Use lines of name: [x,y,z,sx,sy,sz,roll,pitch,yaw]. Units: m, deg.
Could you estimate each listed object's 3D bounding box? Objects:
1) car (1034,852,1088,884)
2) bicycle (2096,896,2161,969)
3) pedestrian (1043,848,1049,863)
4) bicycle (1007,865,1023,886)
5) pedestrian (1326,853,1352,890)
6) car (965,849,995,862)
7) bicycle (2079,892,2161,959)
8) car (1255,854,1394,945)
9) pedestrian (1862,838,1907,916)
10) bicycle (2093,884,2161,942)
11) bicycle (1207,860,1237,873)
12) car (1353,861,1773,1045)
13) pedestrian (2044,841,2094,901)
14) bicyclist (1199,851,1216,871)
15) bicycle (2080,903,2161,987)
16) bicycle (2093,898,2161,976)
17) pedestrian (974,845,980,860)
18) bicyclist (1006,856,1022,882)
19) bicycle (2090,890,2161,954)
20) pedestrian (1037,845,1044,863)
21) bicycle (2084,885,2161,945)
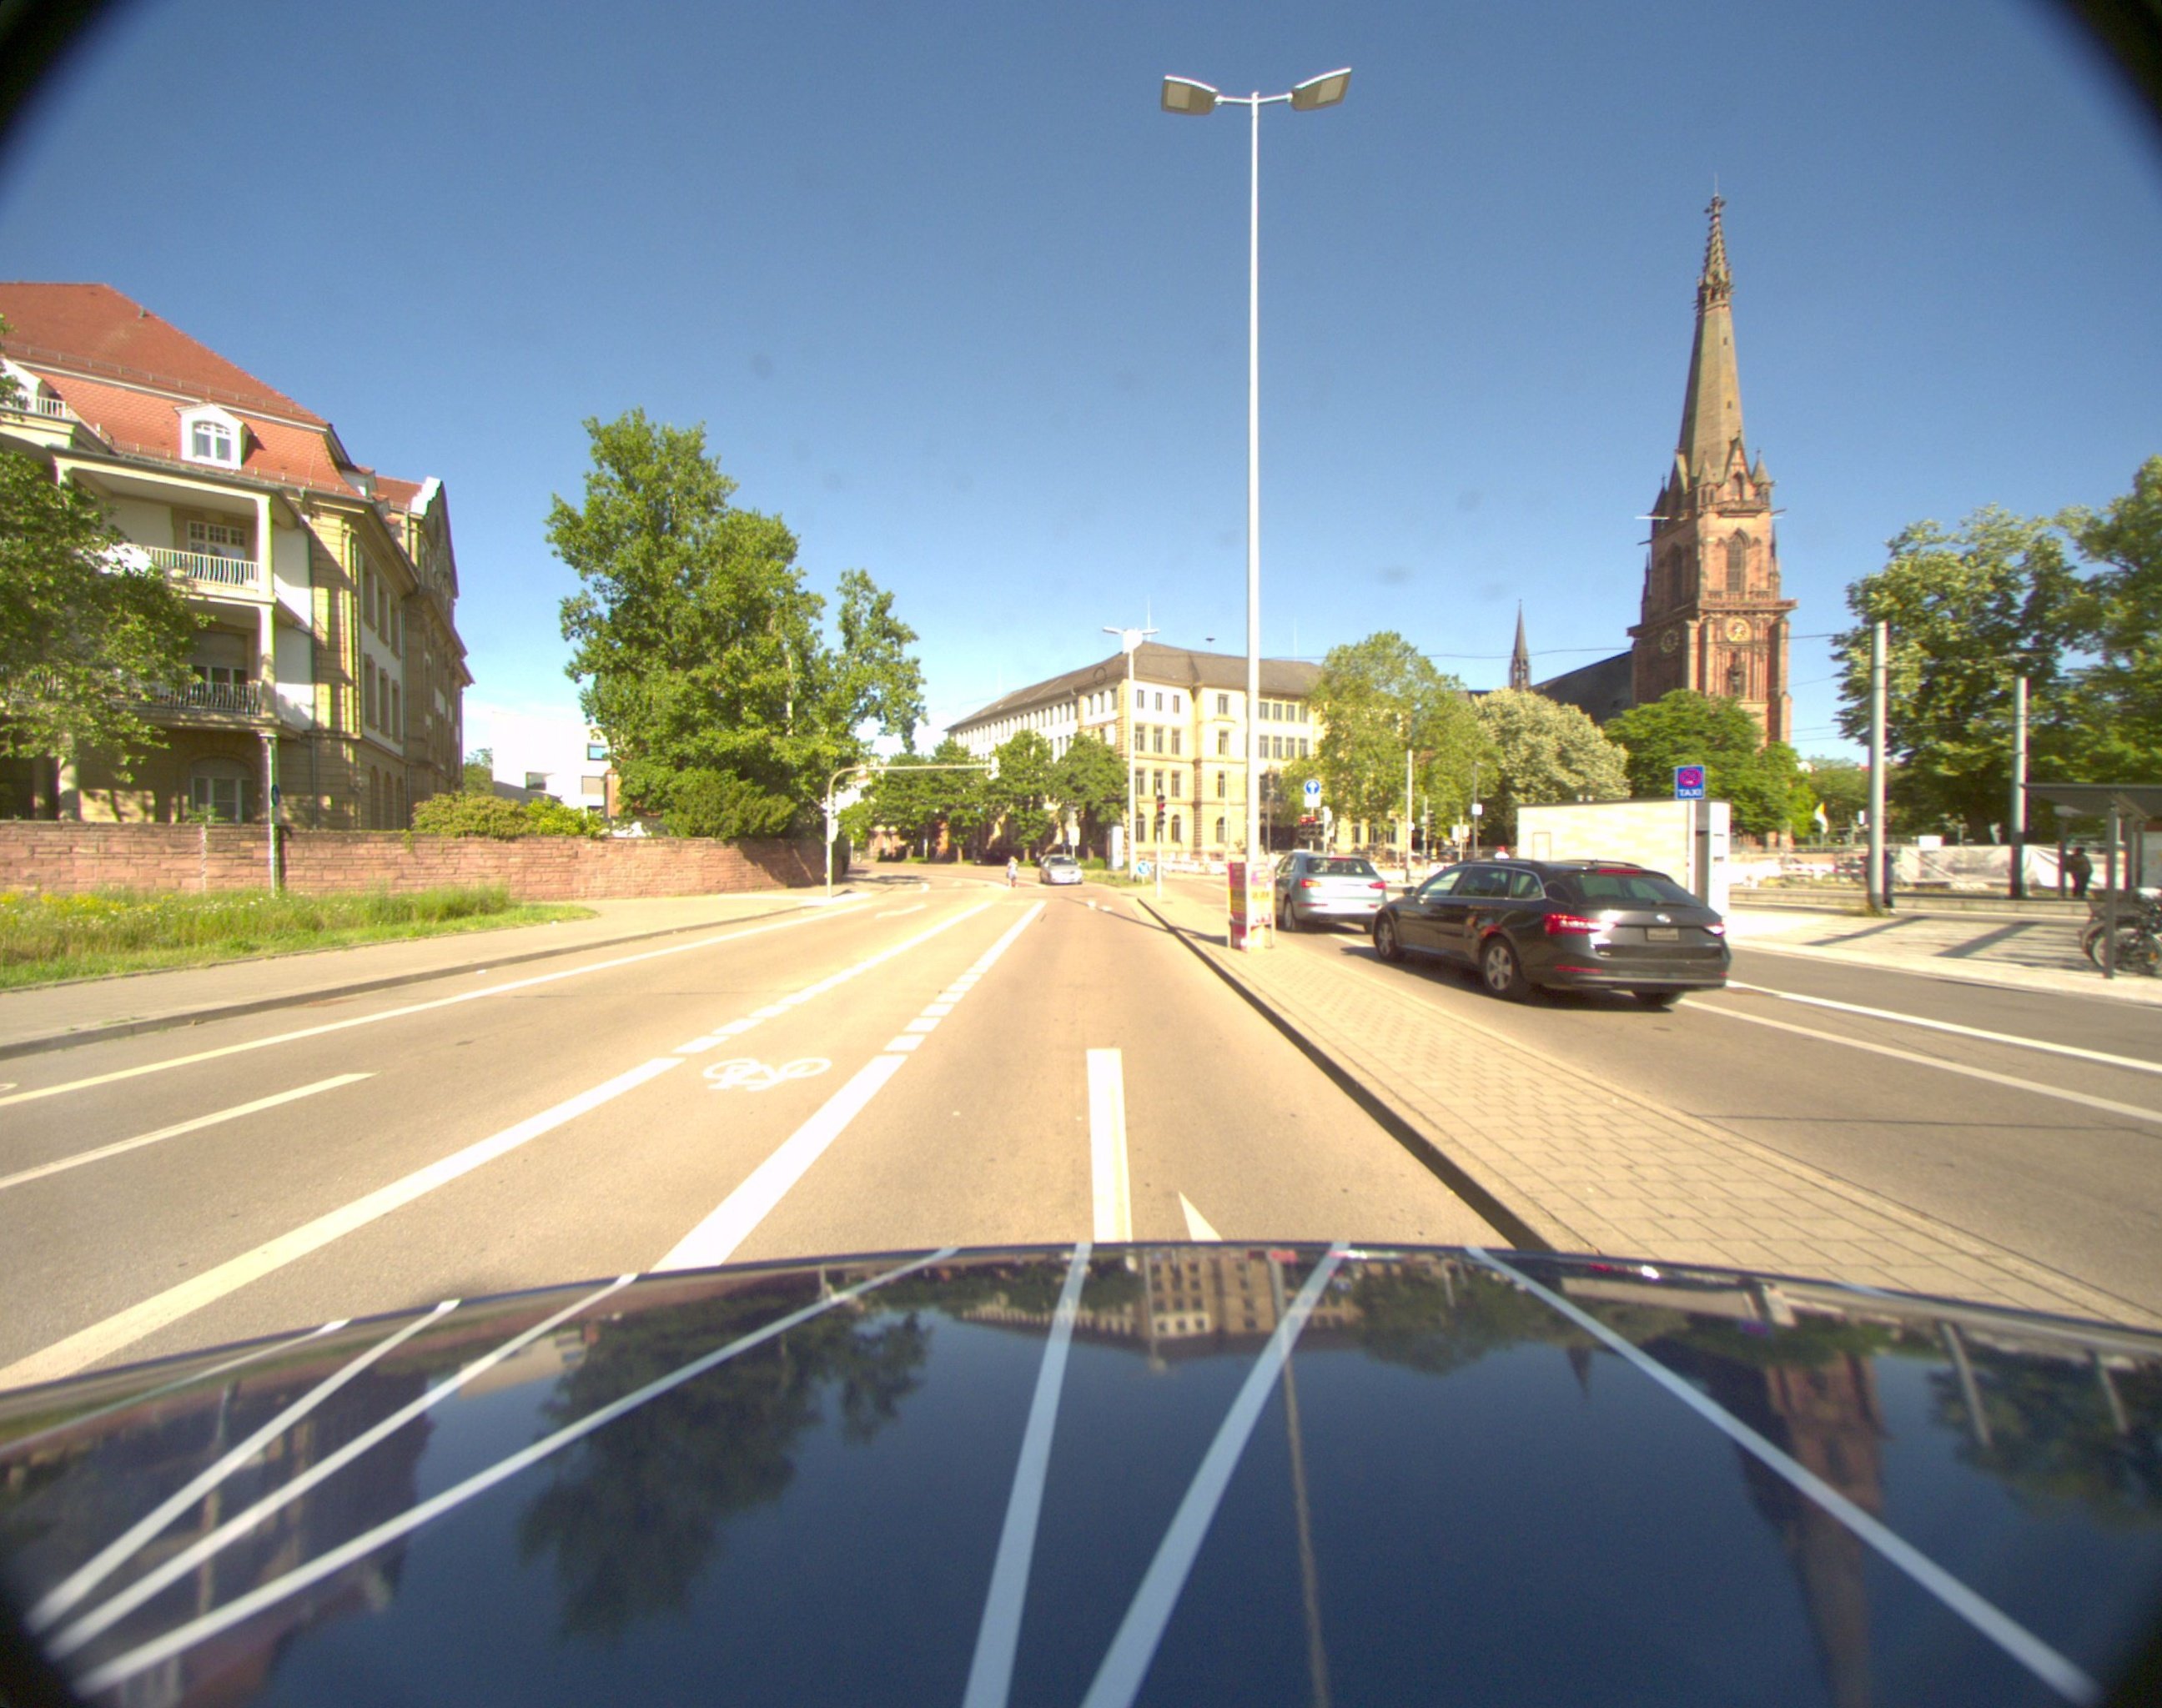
car: [-1.171,0.722,41.497,2.000,1.580,4.846,-3,1,-12]
bicycle: [16.129,1.184,10.997,0.407,0.993,1.678,-3,3,-33]
pedestrian: [-3.933,0.142,85.177,0.540,1.710,0.545,-1,1,-37]
bicycle: [-3.479,1.124,39.766,0.741,0.989,2.305,-2,1,-6]
pedestrian: [11.770,0.785,34.691,0.933,1.657,0.629,-1,1,-20]
car: [-12.044,0.145,90.424,1.839,1.587,3.989,-1,1,-37]
bicycle: [17.185,1.143,12.010,0.407,0.993,1.679,-3,2,-33]
car: [4.832,0.806,15.701,1.791,1.572,4.259,1,0,5]
pedestrian: [19.515,0.551,18.462,0.622,1.849,0.700,-1,1,-40]
bicycle: [19.514,1.066,13.577,0.407,0.993,1.679,-3,2,-33]
bicycle: [10.998,0.966,59.277,2.236,0.975,0.695,0,1,36]
car: [5.046,0.888,8.993,1.818,1.496,4.783,2,0,-1]
pedestrian: [30.750,0.516,23.652,0.619,1.849,0.703,0,1,11]
bicyclist: [10.016,0.531,59.991,1.141,1.531,0.684,0,1,36]
bicycle: [13.985,1.190,9.549,0.407,0.993,1.678,-3,3,-33]
bicycle: [15.030,1.168,10.206,0.407,0.993,1.678,-3,3,-33]
pedestrian: [-13.384,-0.189,97.791,0.578,1.893,0.781,-1,1,-36]
bicyclist: [-3.517,0.780,39.761,0.741,1.363,0.626,-2,1,-6]
bicycle: [17.965,1.139,12.457,0.407,0.993,1.679,-3,2,-33]
pedestrian: [-4.654,-0.004,88.080,0.557,2.002,0.645,-1,1,-37]
bicycle: [19.028,1.086,13.335,0.407,0.993,1.679,-3,2,-33]
